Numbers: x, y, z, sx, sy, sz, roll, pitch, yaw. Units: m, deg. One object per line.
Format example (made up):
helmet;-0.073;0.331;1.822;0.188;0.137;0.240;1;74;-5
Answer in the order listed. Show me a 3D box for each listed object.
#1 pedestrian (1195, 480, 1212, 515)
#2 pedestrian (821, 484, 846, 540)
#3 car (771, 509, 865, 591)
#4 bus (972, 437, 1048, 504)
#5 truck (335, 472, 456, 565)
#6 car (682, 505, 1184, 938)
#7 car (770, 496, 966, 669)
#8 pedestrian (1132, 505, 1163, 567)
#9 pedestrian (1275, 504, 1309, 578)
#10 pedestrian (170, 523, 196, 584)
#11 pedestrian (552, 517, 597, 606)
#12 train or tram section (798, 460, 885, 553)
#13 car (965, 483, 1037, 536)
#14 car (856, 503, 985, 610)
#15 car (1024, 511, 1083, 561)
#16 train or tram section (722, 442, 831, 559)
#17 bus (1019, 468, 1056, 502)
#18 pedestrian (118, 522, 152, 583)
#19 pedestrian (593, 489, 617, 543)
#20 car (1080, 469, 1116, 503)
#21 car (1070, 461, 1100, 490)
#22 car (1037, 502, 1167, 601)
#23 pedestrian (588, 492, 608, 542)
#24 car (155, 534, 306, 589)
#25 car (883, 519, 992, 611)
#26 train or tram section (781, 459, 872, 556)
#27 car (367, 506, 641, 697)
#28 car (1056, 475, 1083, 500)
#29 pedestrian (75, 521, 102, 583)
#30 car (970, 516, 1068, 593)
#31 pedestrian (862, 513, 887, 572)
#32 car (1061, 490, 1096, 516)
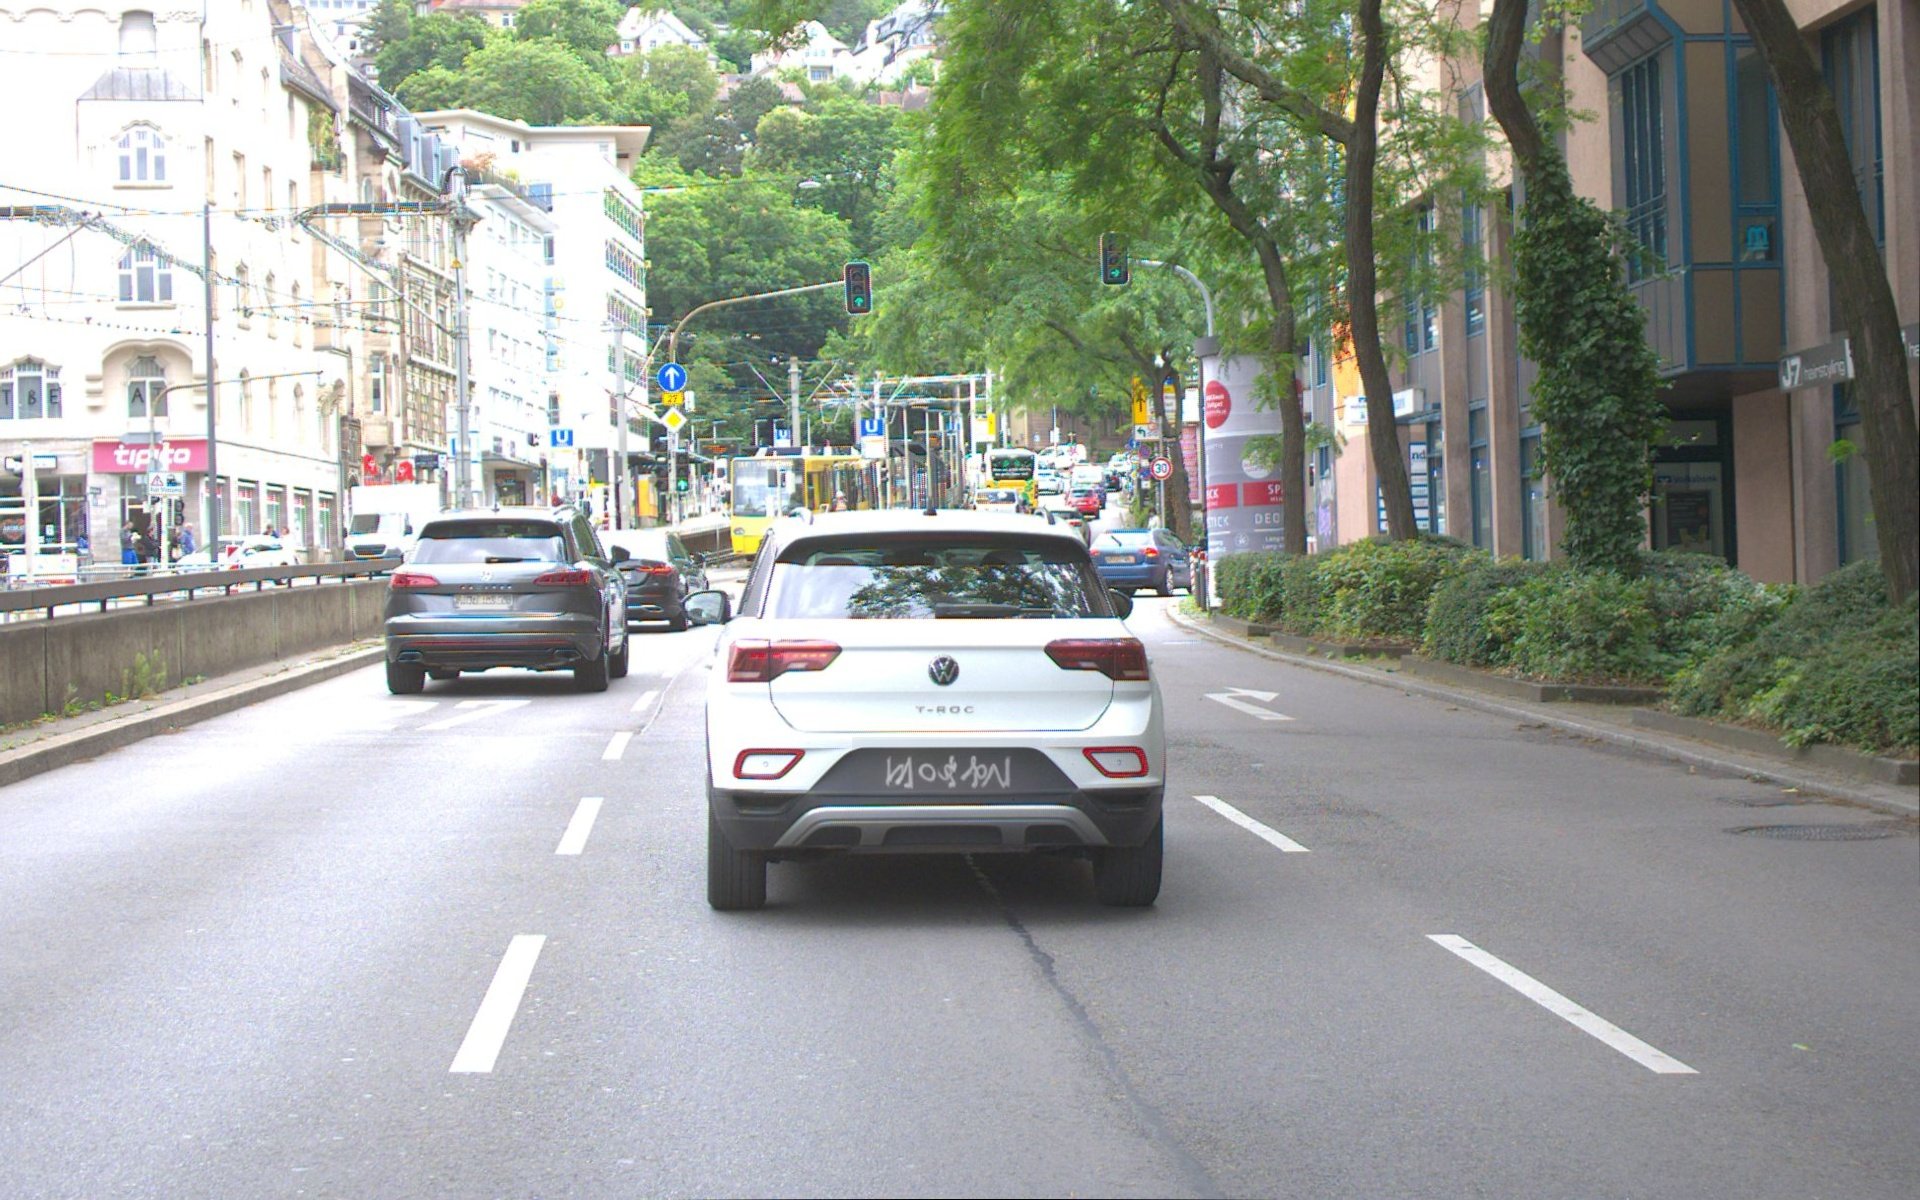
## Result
pedestrian;11.445;-4.824;161.602;0.635;1.609;0.588;0;1;-17
pedestrian;-3.919;-2.717;106.419;0.685;1.705;0.712;-1;2;3
car;-3.002;-1.050;72.187;1.884;1.678;4.162;0;1;-3
bus;2.574;-6.422;172.091;3.372;3.054;13.324;0;1;3
truck;-19.074;-2.728;116.510;2.267;3.065;7.373;0;1;5
car;-0.223;0.407;14.653;1.837;1.578;4.157;0;1;-3
car;-1.009;-0.206;35.517;1.884;1.678;4.162;0;1;-3
pedestrian;5.537;-1.892;101.608;0.693;1.771;0.689;-5;1;-1
pedestrian;9.056;-1.601;93.737;0.835;2.007;0.764;0;1;-1
pedestrian;-22.795;-1.375;100.874;0.510;1.773;0.576;-1;1;18
pedestrian;-7.595;-0.762;67.761;0.764;1.715;0.637;-1;1;3
train or tram section;-4.562;-3.648;133.402;2.835;3.508;5.751;0;2;4
car;1.651;-3.553;135.654;2.365;2.007;5.147;0;1;6
car;-0.683;-0.713;55.791;1.884;1.678;4.162;0;1;-3
car;3.220;-2.193;117.415;1.885;1.678;4.161;0;1;3
train or tram section;-5.850;-3.208;110.374;2.835;3.666;5.751;0;2;4
bus;4.657;-6.907;206.441;1.993;2.007;4.000;0;1;-2
pedestrian;-24.088;-1.384;100.360;0.710;1.773;0.595;-1;1;19
pedestrian;-11.612;-2.742;112.434;0.627;1.756;0.846;-1;1;4
car;8.450;-6.976;210.484;1.993;2.007;4.000;0;1;0
car;7.066;-7.020;194.438;1.673;1.555;3.678;0;1;3
car;2.958;-1.030;72.602;2.364;2.007;5.149;0;1;-2
pedestrian;-12.329;-2.834;117.072;0.635;1.705;0.690;-1;2;-5
car;-20.850;-1.111;98.428;1.751;1.555;4.507;1;1;28
car;-0.470;-0.799;77.684;2.365;2.007;5.148;0;1;1
train or tram section;-4.918;-3.454;127.656;2.835;3.508;5.751;0;2;4
car;-4.128;-0.041;31.741;1.993;1.630;4.000;-1;2;0
car;7.148;-7.340;224.695;1.673;1.555;3.678;0;1;3
pedestrian;-25.186;-1.378;99.383;0.575;1.773;0.511;-1;1;8
car;1.551;-1.225;92.073;2.364;2.007;5.149;0;1;-2
pedestrian;-2.519;-1.689;100.884;0.635;1.705;0.871;-1;2;3
car;5.571;-4.536;160.853;1.582;1.168;3.678;0;1;3
